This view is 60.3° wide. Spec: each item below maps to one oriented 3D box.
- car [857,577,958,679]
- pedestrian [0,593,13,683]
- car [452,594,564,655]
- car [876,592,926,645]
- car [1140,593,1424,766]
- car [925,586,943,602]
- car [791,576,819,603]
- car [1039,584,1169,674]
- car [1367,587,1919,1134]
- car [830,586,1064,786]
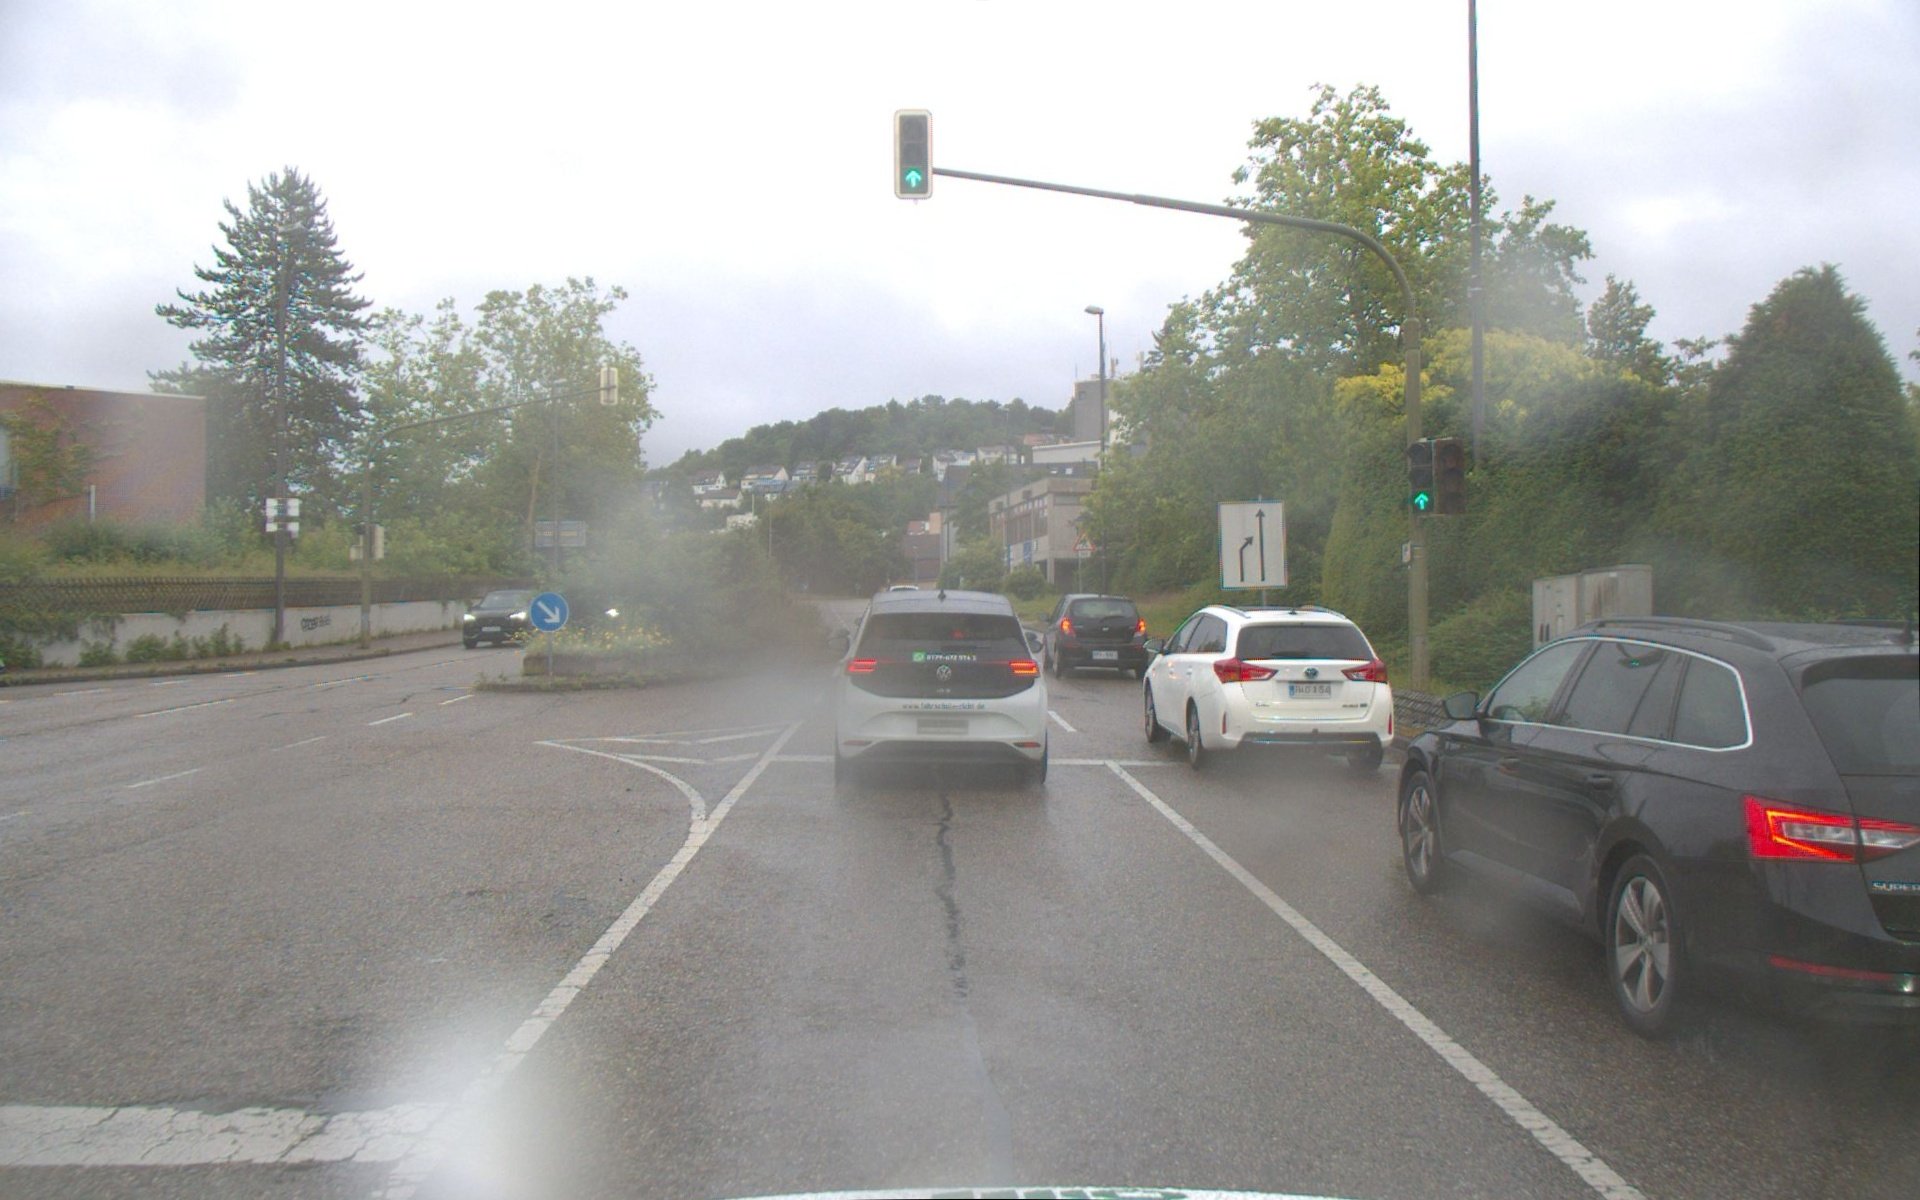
[{"bbox_3d":[-0.923,0.398,27.273,1.536,1.556,3.997,0,1,-4],"label":"car"},{"bbox_3d":[-18.198,0.722,31.029,0.541,1.671,0.499,-2,0,29],"label":"pedestrian"},{"bbox_3d":[-12.327,0.650,45.387,1.911,1.504,4.294,-2,0,-1],"label":"car"},{"bbox_3d":[-2.382,0.747,67.532,1.953,2.049,3.999,1,0,-1],"label":"car"},{"bbox_3d":[2.922,0.679,15.943,1.810,1.434,4.300,0,0,-1],"label":"car"},{"bbox_3d":[-2.610,-0.624,165.487,1.703,1.490,3.997,1,-1,-3],"label":"car"},{"bbox_3d":[-12.102,-0.824,129.440,1.954,2.049,3.997,1,-1,-3],"label":"car"},{"bbox_3d":[2.604,0.512,30.706,1.953,1.478,3.769,-2,0,-1],"label":"car"},{"bbox_3d":[3.290,0.783,7.000,1.914,1.534,4.607,2,0,-1],"label":"car"},{"bbox_3d":[-0.146,0.670,14.763,1.791,1.526,4.167,0,0,-1],"label":"car"}]
